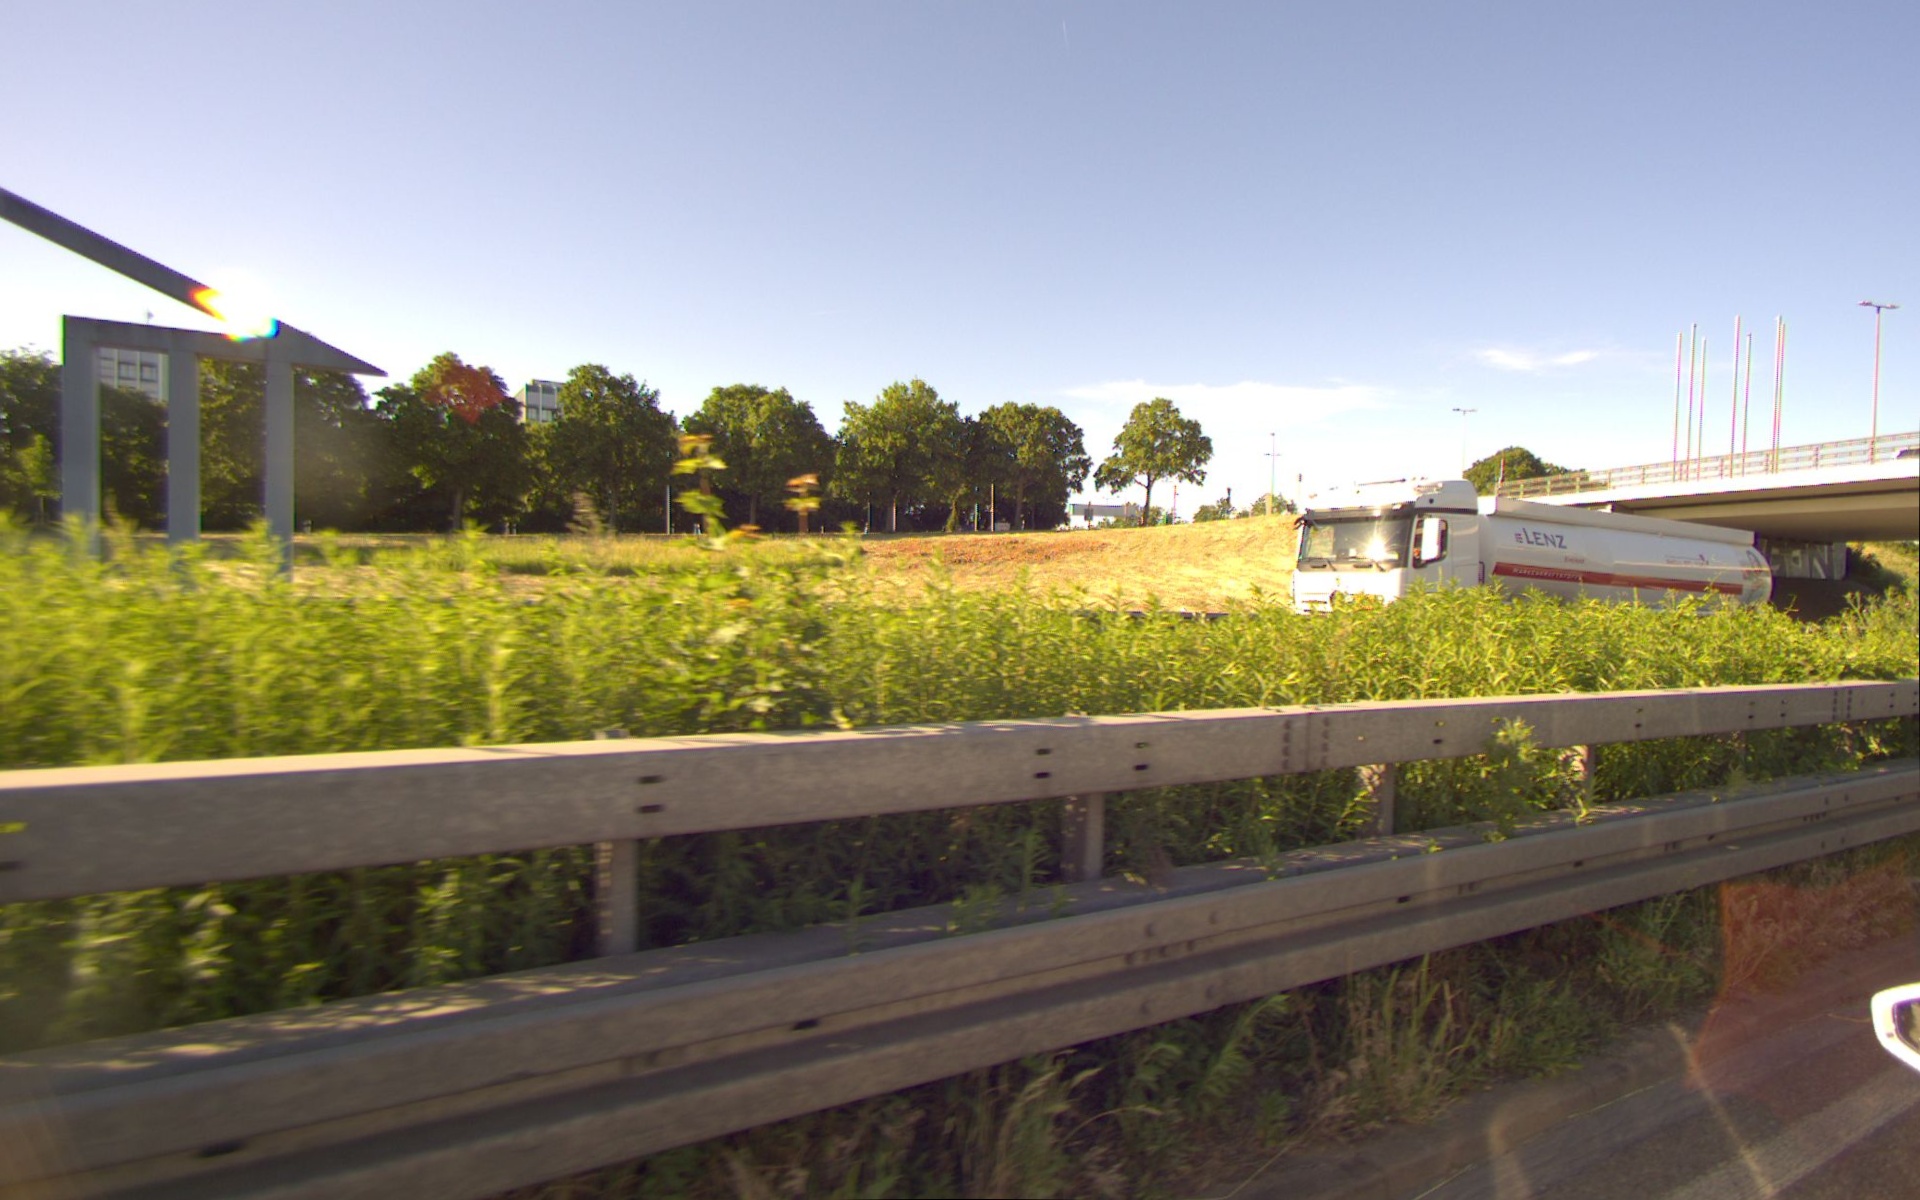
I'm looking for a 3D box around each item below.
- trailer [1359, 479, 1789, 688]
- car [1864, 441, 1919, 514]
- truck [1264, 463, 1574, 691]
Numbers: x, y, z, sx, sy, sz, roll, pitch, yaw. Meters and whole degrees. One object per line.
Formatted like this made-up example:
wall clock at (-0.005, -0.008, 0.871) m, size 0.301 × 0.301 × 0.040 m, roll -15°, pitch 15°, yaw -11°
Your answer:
trailer at (13.933, -0.235, 22.126) m, size 12.064 × 3.706 × 2.762 m, roll 1°, pitch 1°, yaw -31°
car at (41.621, -5.280, 42.782) m, size 2.042 × 2.843 × 4.318 m, roll 1°, pitch 1°, yaw -7°
truck at (8.667, -0.364, 18.910) m, size 5.262 × 3.706 × 2.762 m, roll 1°, pitch 1°, yaw -31°
